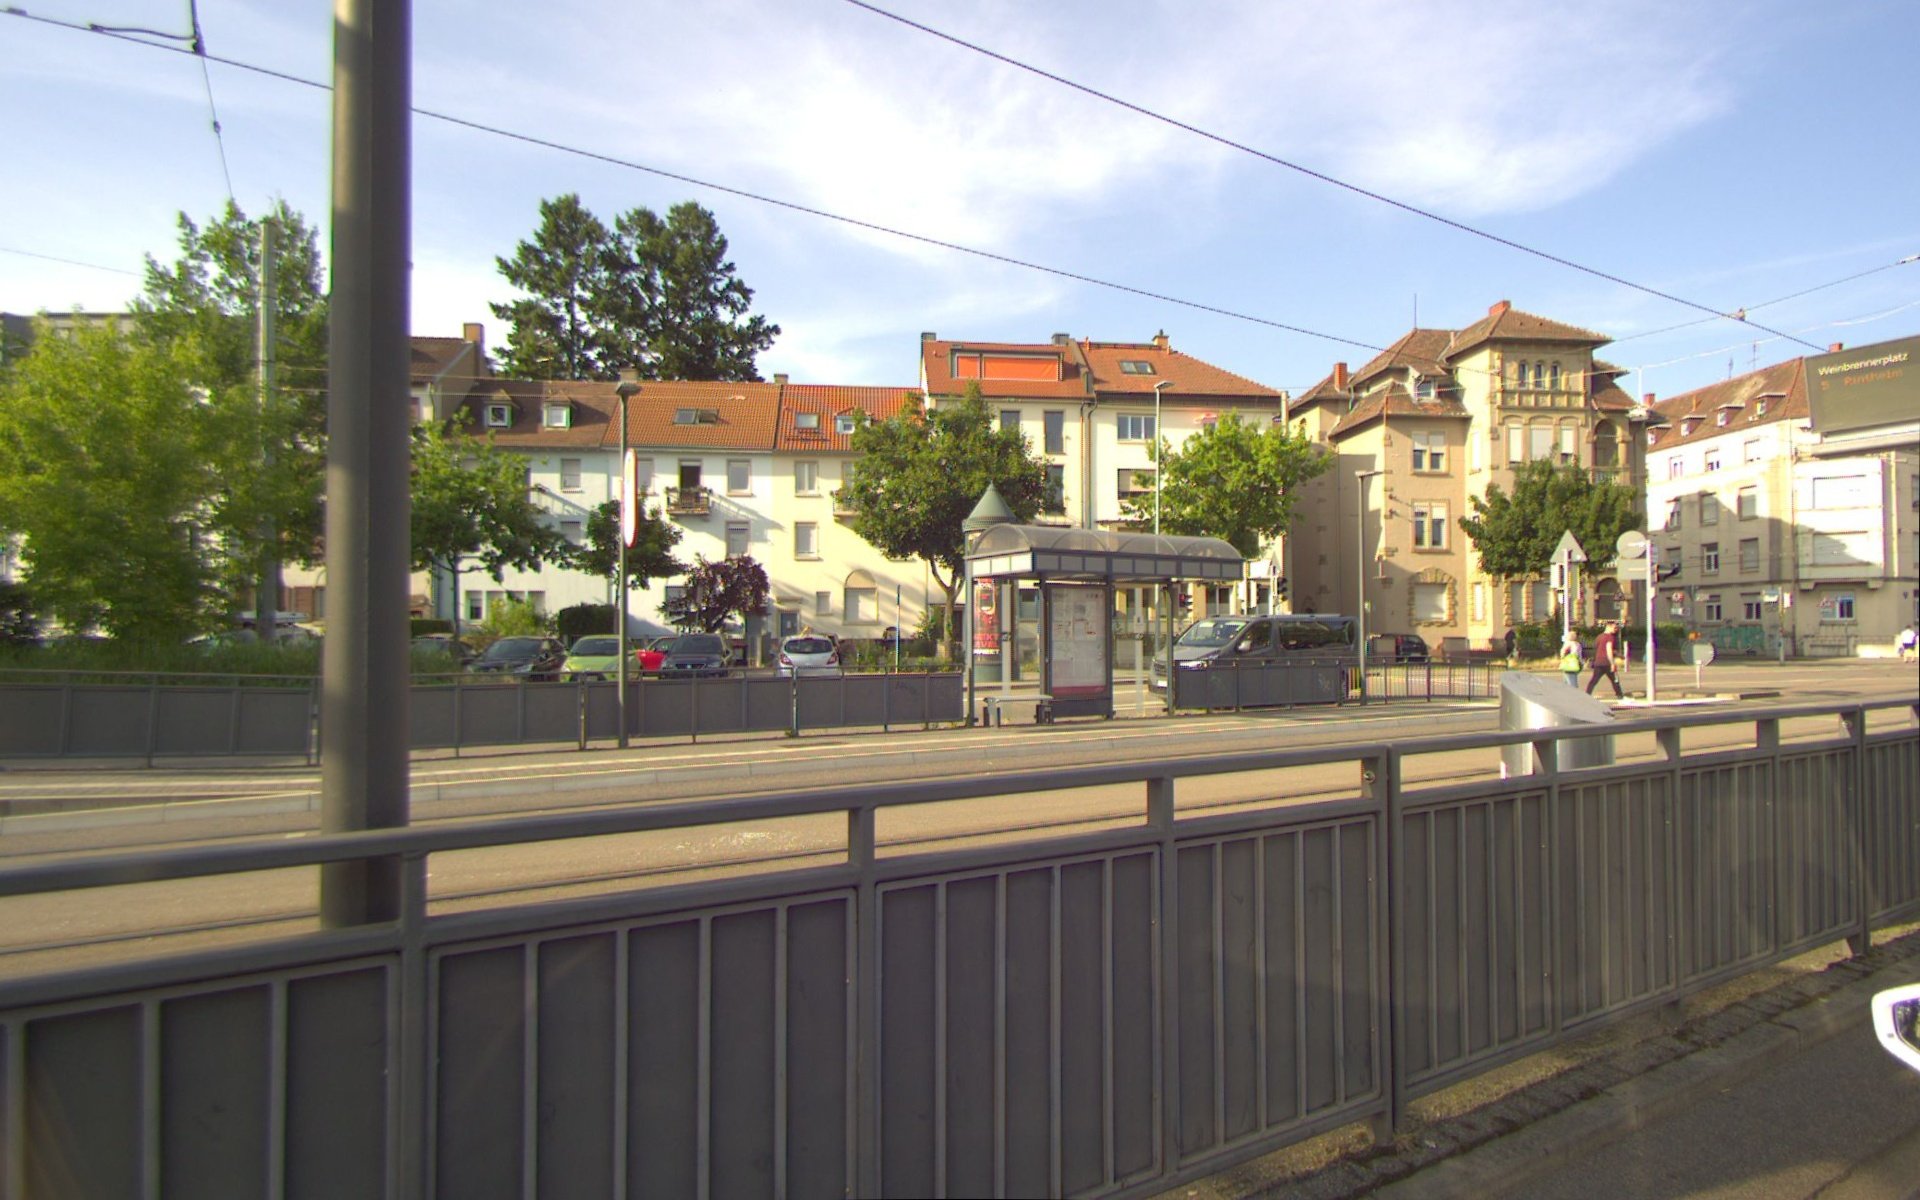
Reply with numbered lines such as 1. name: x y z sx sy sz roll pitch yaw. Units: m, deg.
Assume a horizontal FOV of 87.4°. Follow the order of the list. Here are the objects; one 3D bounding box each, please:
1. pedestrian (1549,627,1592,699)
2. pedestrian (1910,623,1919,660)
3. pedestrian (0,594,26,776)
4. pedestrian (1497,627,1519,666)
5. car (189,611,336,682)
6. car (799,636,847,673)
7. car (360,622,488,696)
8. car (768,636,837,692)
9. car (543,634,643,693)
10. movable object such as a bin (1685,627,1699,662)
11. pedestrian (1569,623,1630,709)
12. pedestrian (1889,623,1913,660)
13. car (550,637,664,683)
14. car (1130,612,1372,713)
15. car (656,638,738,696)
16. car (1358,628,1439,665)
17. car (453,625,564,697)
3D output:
1. pedestrian: 13.940 1.435 22.941 0.708 1.610 0.586 1 -2 -34
2. pedestrian: 49.376 2.135 51.589 0.642 1.872 0.670 1 -2 -32
3. pedestrian: -9.173 0.777 9.211 0.719 1.649 0.703 1 -2 -30
4. pedestrian: 23.953 2.036 43.907 0.592 1.673 0.681 0 -1 -3
5. car: -18.959 1.248 27.527 1.822 1.777 3.993 0 -2 -11
6. car: -5.985 2.359 44.261 1.821 1.578 3.998 0 -2 -4
7. car: -13.882 1.497 26.288 1.822 1.777 3.993 0 -2 -11
8. car: -4.368 1.723 27.970 1.740 1.447 3.995 0 -2 -9
9. car: -9.727 1.639 26.935 1.740 1.447 3.995 0 -2 -9
10. movable object such as a bin: 36.876 2.221 50.600 0.259 1.732 2.379 -1 -2 29
11. pedestrian: 12.861 1.312 20.217 0.866 1.692 0.672 -1 -2 19
12. pedestrian: 48.892 2.153 52.206 0.616 1.905 0.659 0 -2 -15
13. car: -12.179 2.059 34.861 3.444 1.544 1.567 0 -2 -7
14. car: 6.560 1.335 22.461 5.323 2.040 2.135 1 -2 -30
15. car: -7.065 1.758 27.341 1.740 1.447 3.995 0 -2 -9
16. car: 20.464 2.147 47.069 1.742 1.653 3.998 0 -2 -5
17. car: -11.970 1.580 26.906 1.822 1.777 3.993 0 -2 -11
